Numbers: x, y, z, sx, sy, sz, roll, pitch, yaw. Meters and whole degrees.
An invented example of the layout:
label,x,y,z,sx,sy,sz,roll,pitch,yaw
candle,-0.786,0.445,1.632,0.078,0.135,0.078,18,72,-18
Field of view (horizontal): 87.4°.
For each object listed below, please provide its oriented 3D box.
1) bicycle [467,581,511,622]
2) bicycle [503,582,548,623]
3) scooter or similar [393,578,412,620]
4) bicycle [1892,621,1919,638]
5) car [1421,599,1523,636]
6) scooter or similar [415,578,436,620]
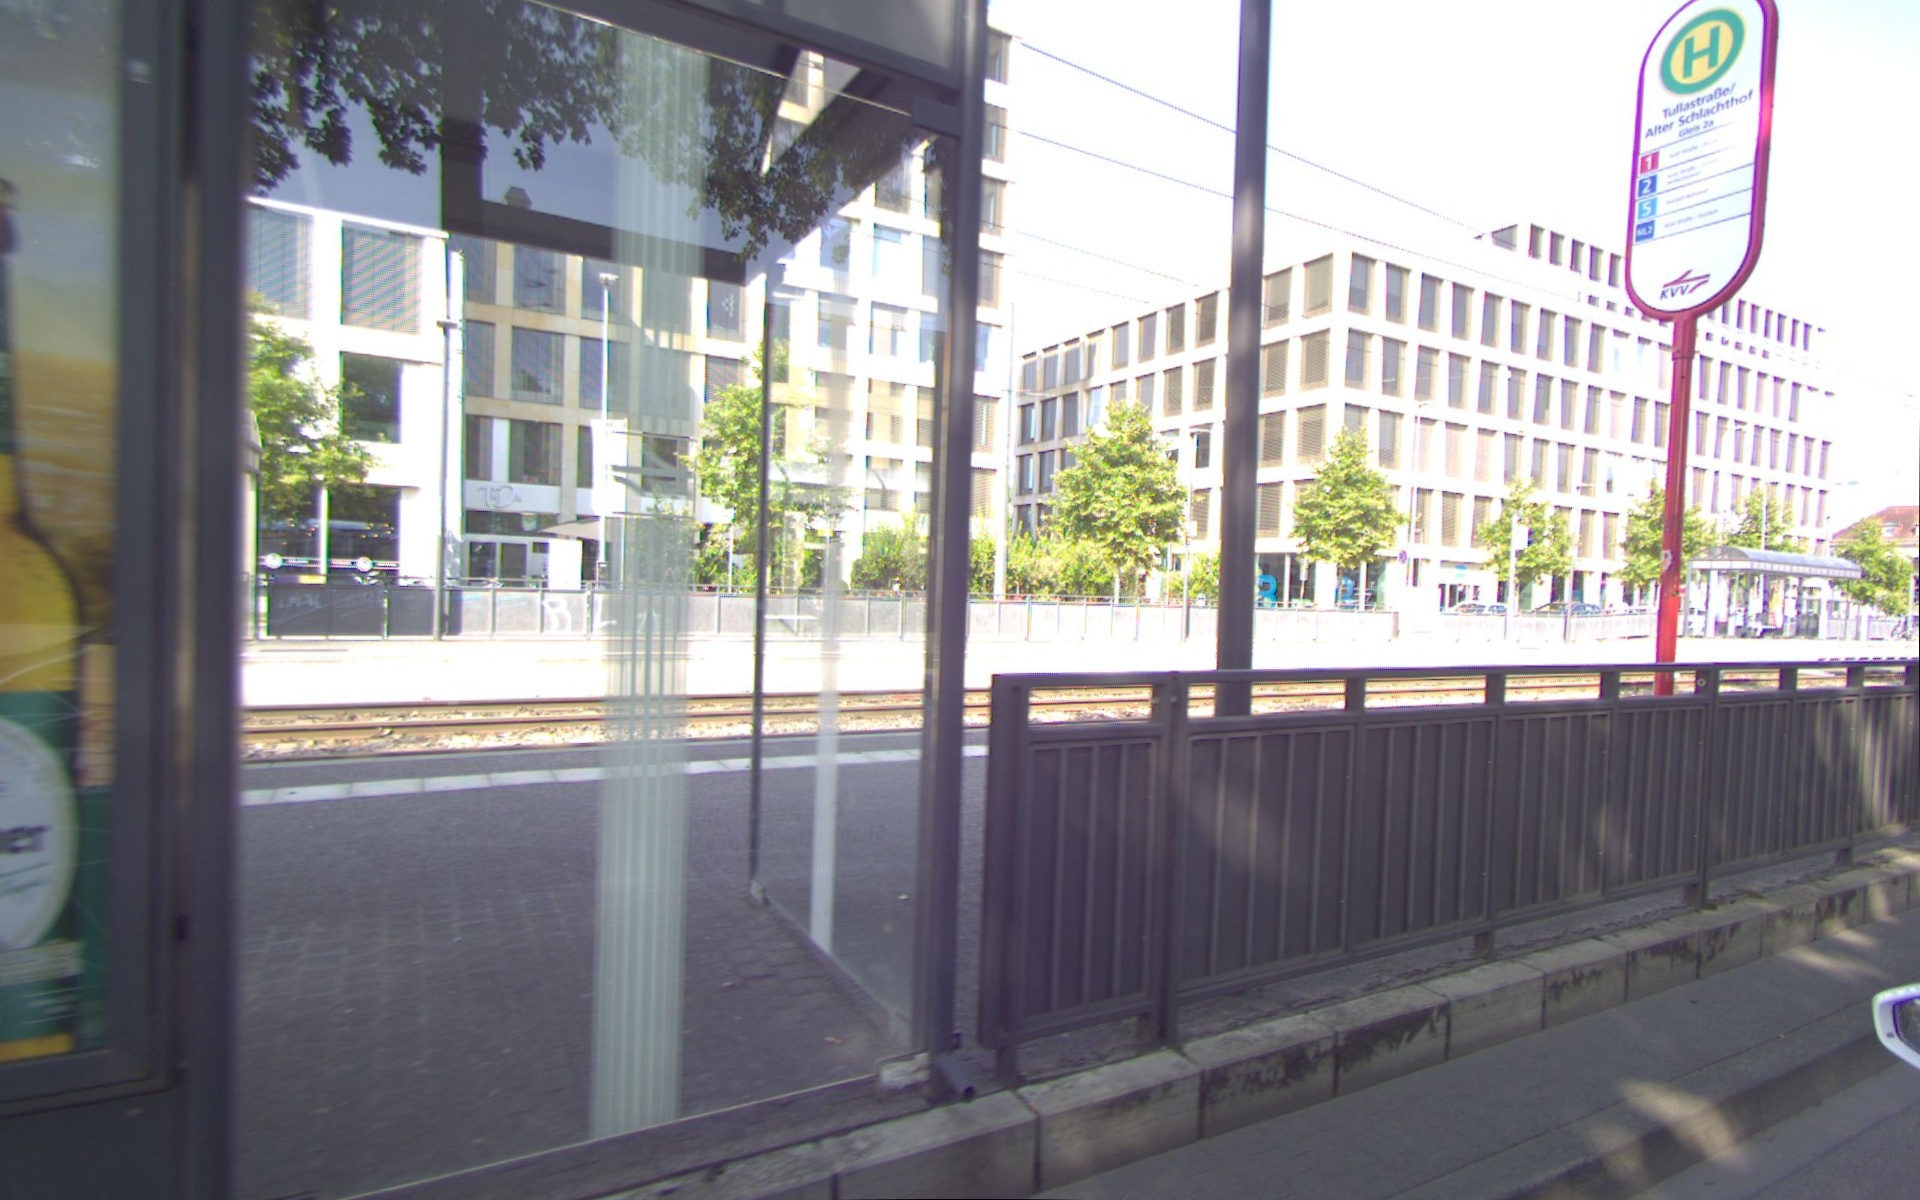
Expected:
label,x,y,z,sx,sy,sz,roll,pitch,yaw
bicycle,-12.203,0.021,25.972,0.812,0.999,2.421,1,1,-30
bicycle,-11.462,0.040,26.447,0.812,0.999,2.421,1,1,-30
scooter or similar,-13.821,-0.029,24.899,0.367,0.999,1.493,1,1,-30
bicycle,39.569,1.234,41.878,1.591,0.671,0.475,2,1,-25
car,20.741,0.705,40.643,4.173,1.395,1.634,1,1,-30
scooter or similar,-13.418,-0.039,25.200,0.390,0.999,1.515,1,1,-30
